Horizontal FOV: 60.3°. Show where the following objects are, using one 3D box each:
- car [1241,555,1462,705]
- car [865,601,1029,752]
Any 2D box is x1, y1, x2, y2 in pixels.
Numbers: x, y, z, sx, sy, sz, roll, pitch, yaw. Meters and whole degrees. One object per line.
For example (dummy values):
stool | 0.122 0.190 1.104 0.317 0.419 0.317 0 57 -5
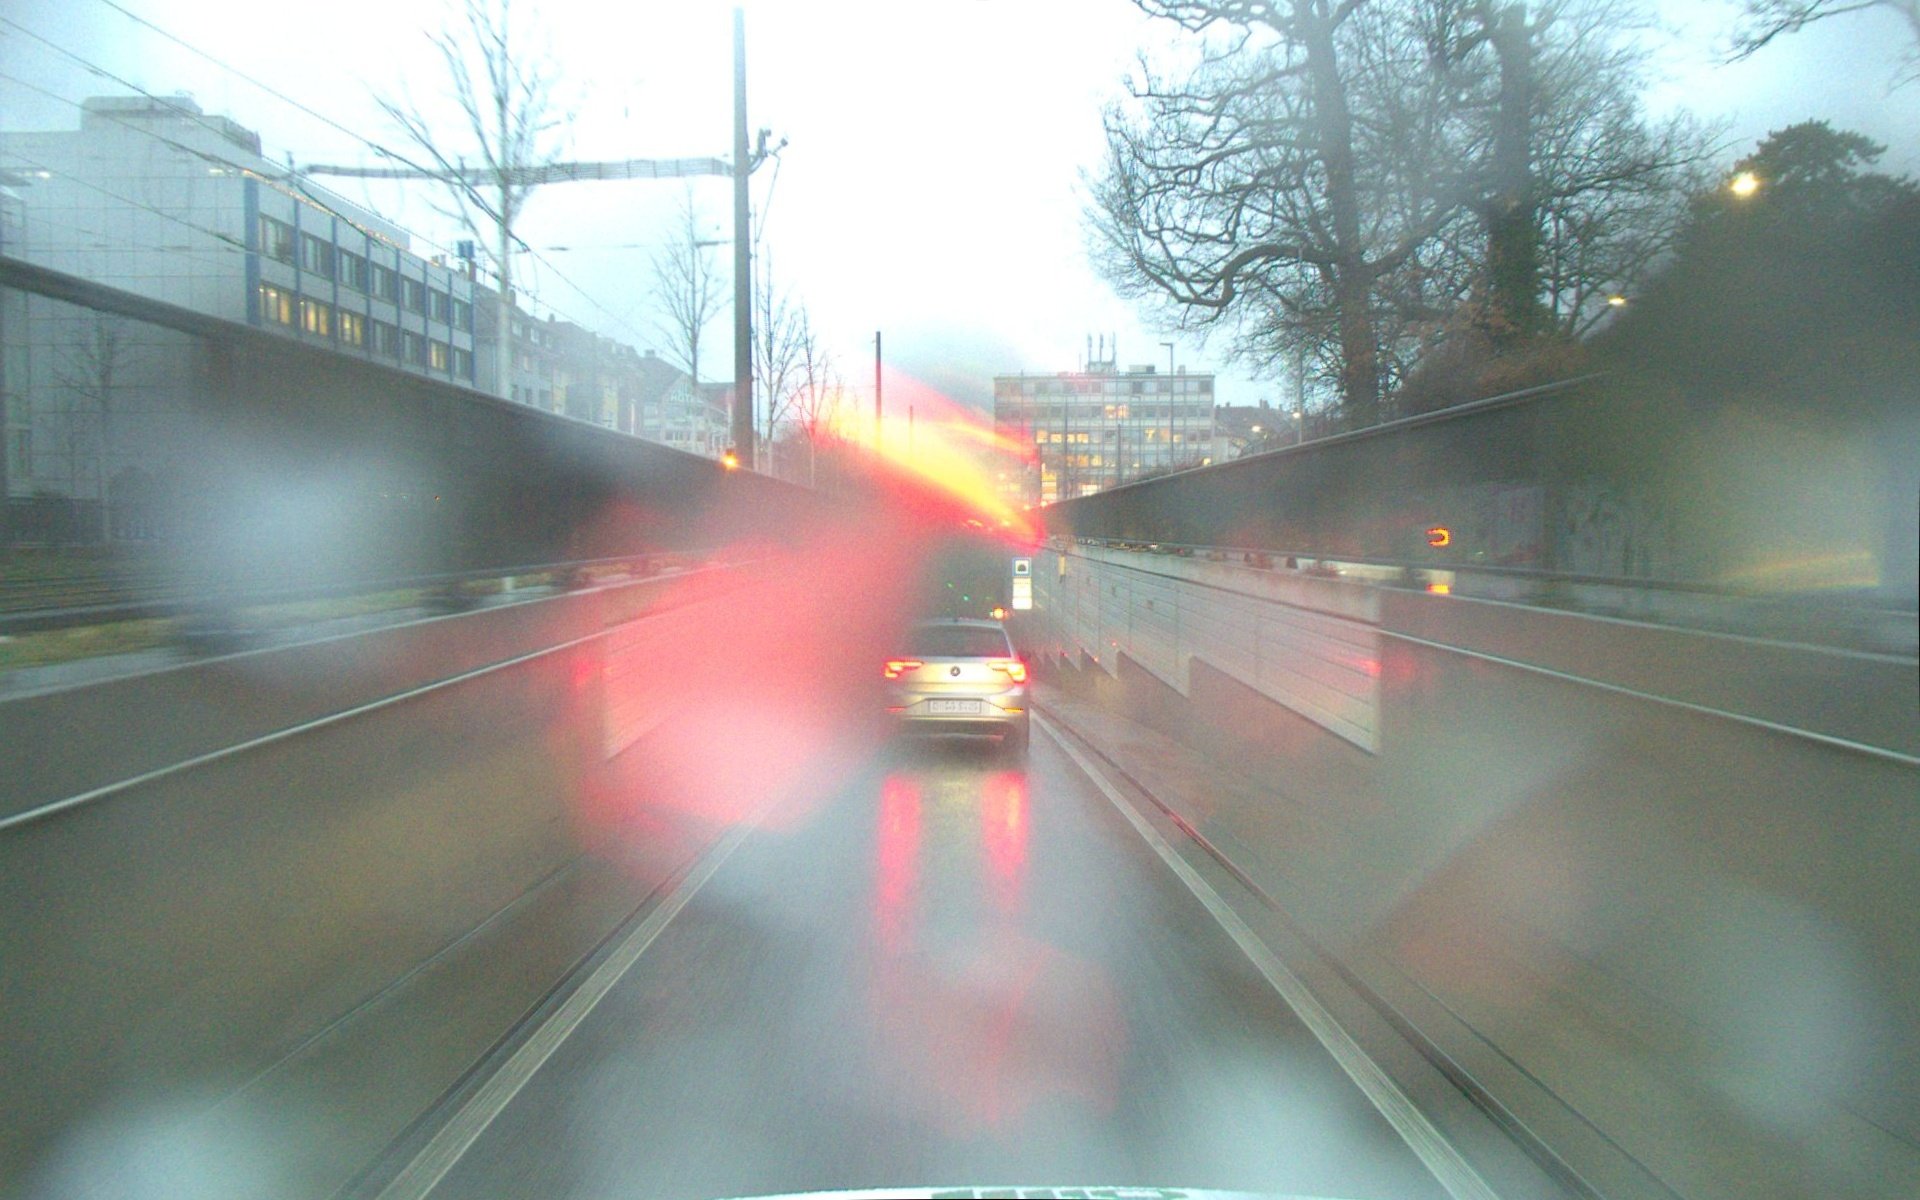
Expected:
car | 4.449 0.256 19.357 1.687 1.505 4.002 2 2 1
car | -0.083 0.805 19.439 1.687 1.505 4.001 2 0 1
